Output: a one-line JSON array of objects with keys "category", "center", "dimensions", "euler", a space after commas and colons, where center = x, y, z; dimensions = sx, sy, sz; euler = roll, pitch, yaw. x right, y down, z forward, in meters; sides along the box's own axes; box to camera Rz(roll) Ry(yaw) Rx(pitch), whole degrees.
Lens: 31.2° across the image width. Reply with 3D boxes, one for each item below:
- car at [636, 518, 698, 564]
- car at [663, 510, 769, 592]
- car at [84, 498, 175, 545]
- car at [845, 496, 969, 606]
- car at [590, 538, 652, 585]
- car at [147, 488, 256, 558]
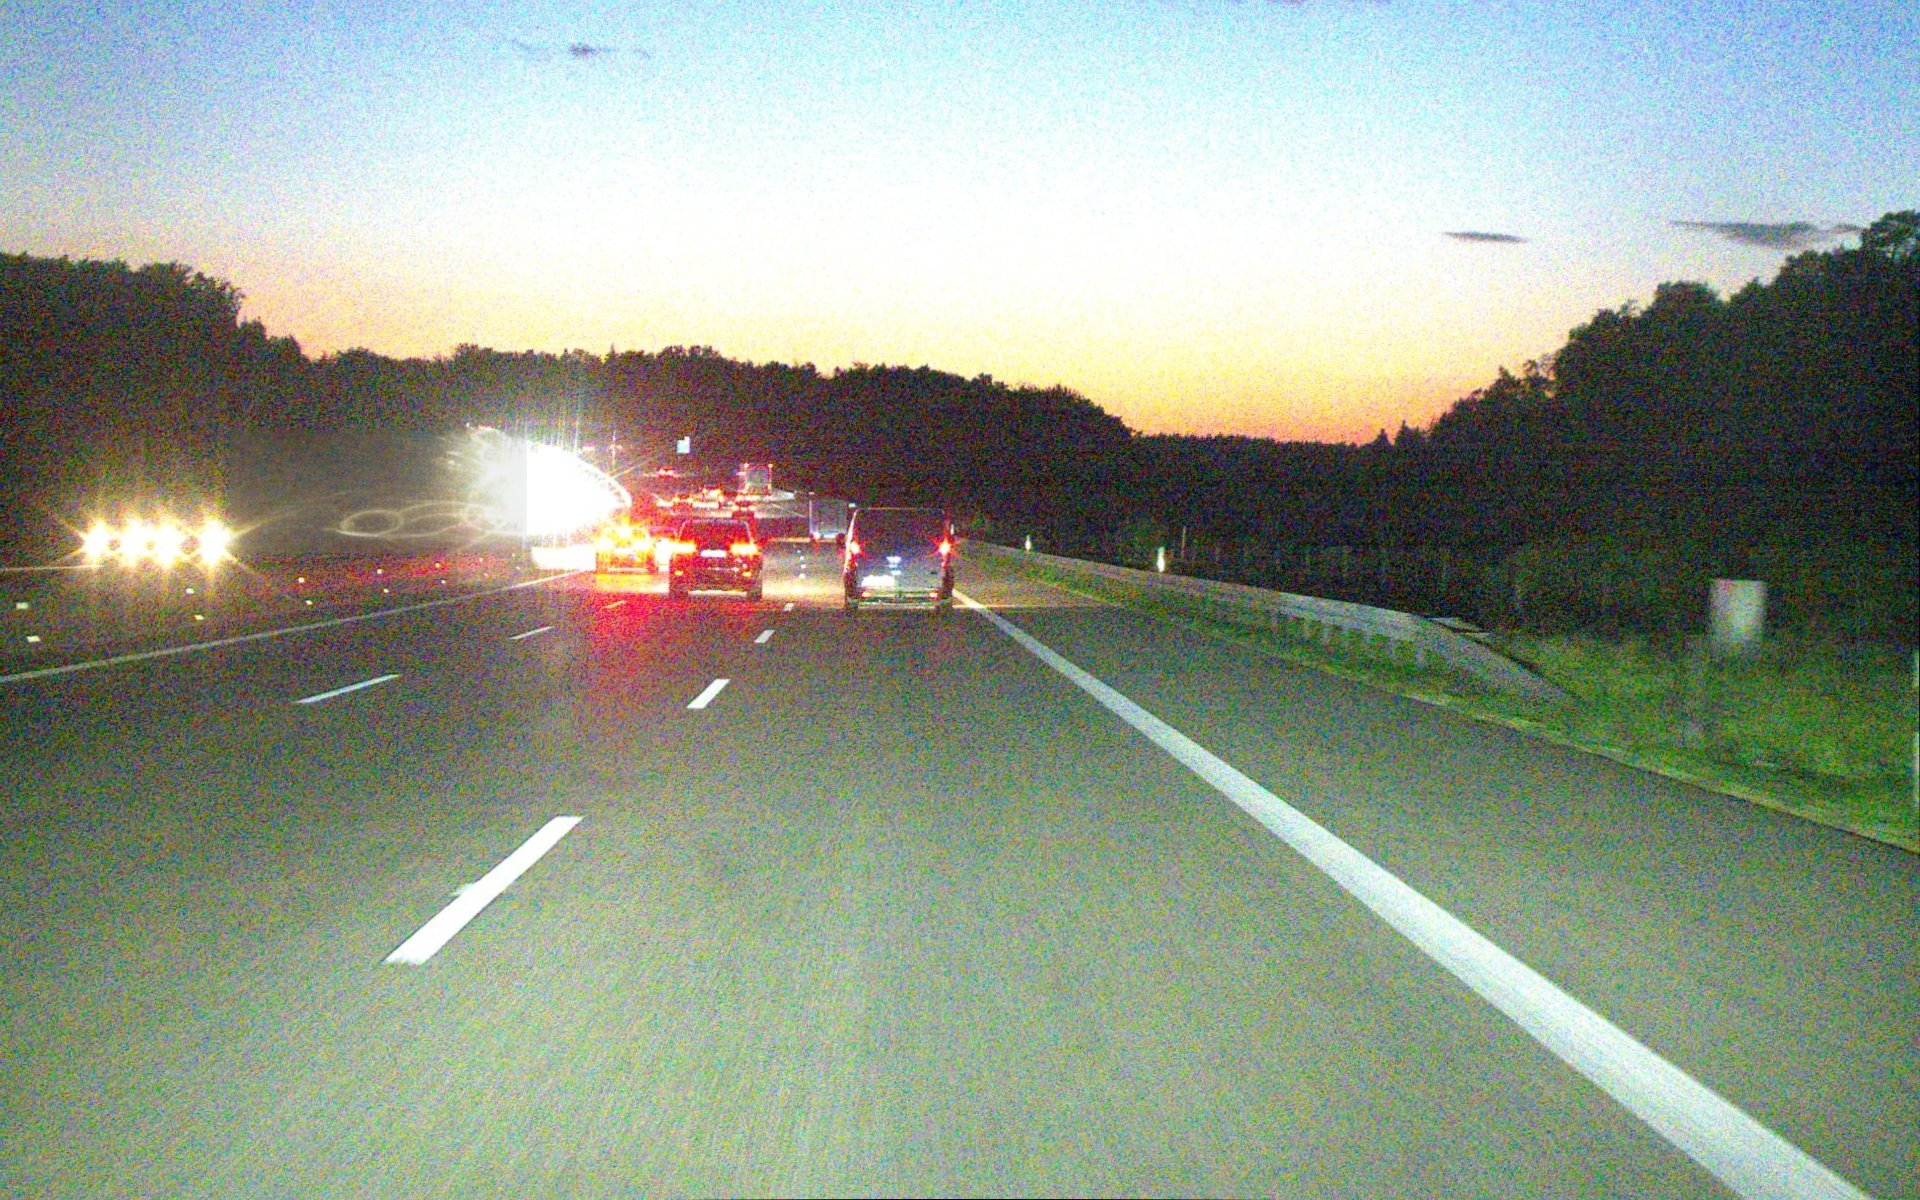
[{"category": "car", "center": [-10.272, -2.095, 120.755], "dimensions": [1.779, 1.481, 5.254], "euler": [0, 2, -1]}, {"category": "car", "center": [-5.260, -1.062, 74.811], "dimensions": [1.993, 1.715, 5.943], "euler": [0, 1, -1]}, {"category": "car", "center": [-26.150, -2.476, 108.366], "dimensions": [1.774, 1.424, 4.659], "euler": [1, 1, -1]}, {"category": "car", "center": [-1.031, -0.945, 63.922], "dimensions": [2.196, 1.948, 4.764], "euler": [0, 2, -2]}, {"category": "car", "center": [-10.563, -1.219, 107.388], "dimensions": [1.549, 1.426, 5.515], "euler": [0, 1, -2]}, {"category": "car", "center": [-21.477, -2.176, 97.527], "dimensions": [2.104, 1.879, 4.659], "euler": [1, 1, -1]}]
